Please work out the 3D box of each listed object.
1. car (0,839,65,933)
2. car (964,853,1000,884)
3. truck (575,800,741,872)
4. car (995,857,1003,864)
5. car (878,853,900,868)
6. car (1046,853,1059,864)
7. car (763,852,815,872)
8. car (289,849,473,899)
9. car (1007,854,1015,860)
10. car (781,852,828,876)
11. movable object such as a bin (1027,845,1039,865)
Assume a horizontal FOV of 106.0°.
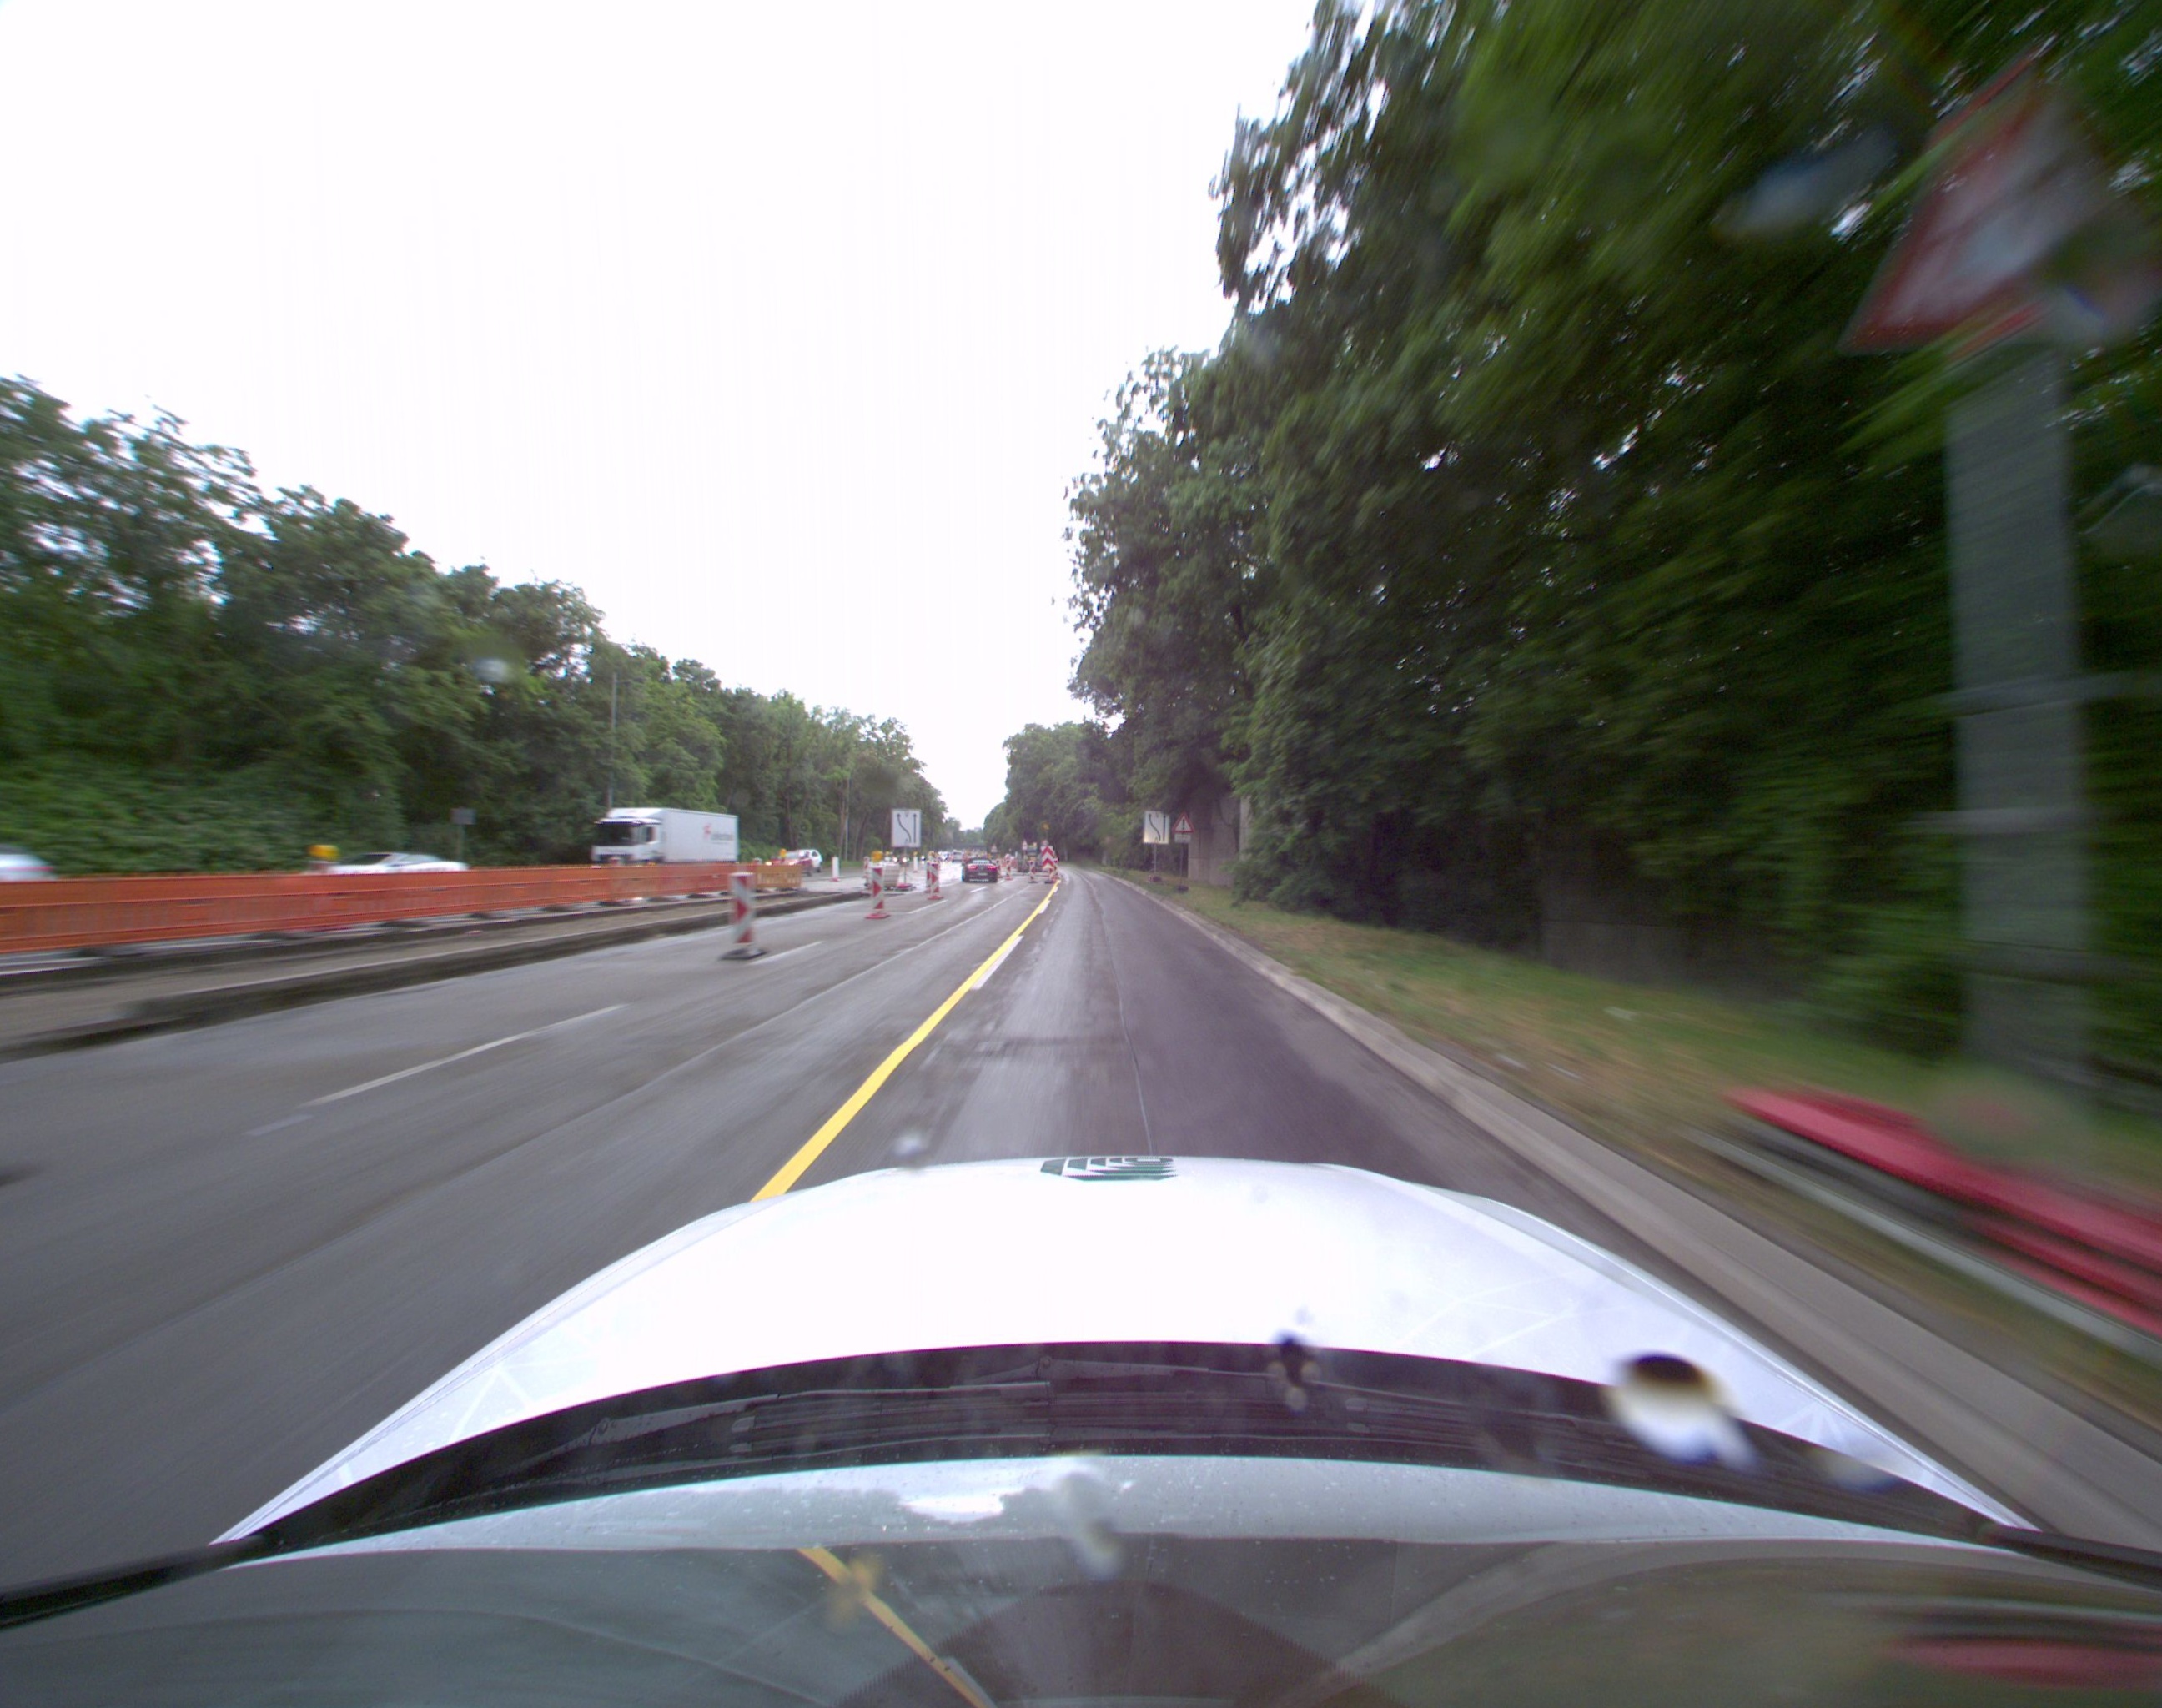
[{"bbox_3d":[-18.771,0.510,12.242,1.828,1.550,4.041,1,0,1],"label":"car"},{"bbox_3d":[-5.632,0.799,46.864,1.859,1.491,3.994,2,2,-5],"label":"car"},{"bbox_3d":[-20.934,-0.760,41.324,2.785,3.148,10.151,1,0,2],"label":"truck"},{"bbox_3d":[-23.541,1.882,233.575,1.871,1.618,3.996,4,0,-3],"label":"car"},{"bbox_3d":[-22.278,0.747,94.666,1.630,1.647,4.197,0,0,-1],"label":"car"},{"bbox_3d":[-4.522,0.668,129.775,1.910,1.598,4.828,2,0,-3],"label":"car"},{"bbox_3d":[-18.020,0.498,50.452,1.599,1.152,4.284,1,0,1],"label":"car"},{"bbox_3d":[-21.329,0.568,25.105,1.803,1.379,4.369,1,0,1],"label":"car"},{"bbox_3d":[-17.241,0.761,201.447,1.756,1.344,3.989,2,1,-8],"label":"car"},{"bbox_3d":[-20.967,0.745,61.962,1.838,1.723,4.720,-2,0,1],"label":"car"},{"bbox_3d":[-6.869,0.172,116.399,1.743,2.867,3.528,0,0,-5],"label":"movable object such as a bin"}]
